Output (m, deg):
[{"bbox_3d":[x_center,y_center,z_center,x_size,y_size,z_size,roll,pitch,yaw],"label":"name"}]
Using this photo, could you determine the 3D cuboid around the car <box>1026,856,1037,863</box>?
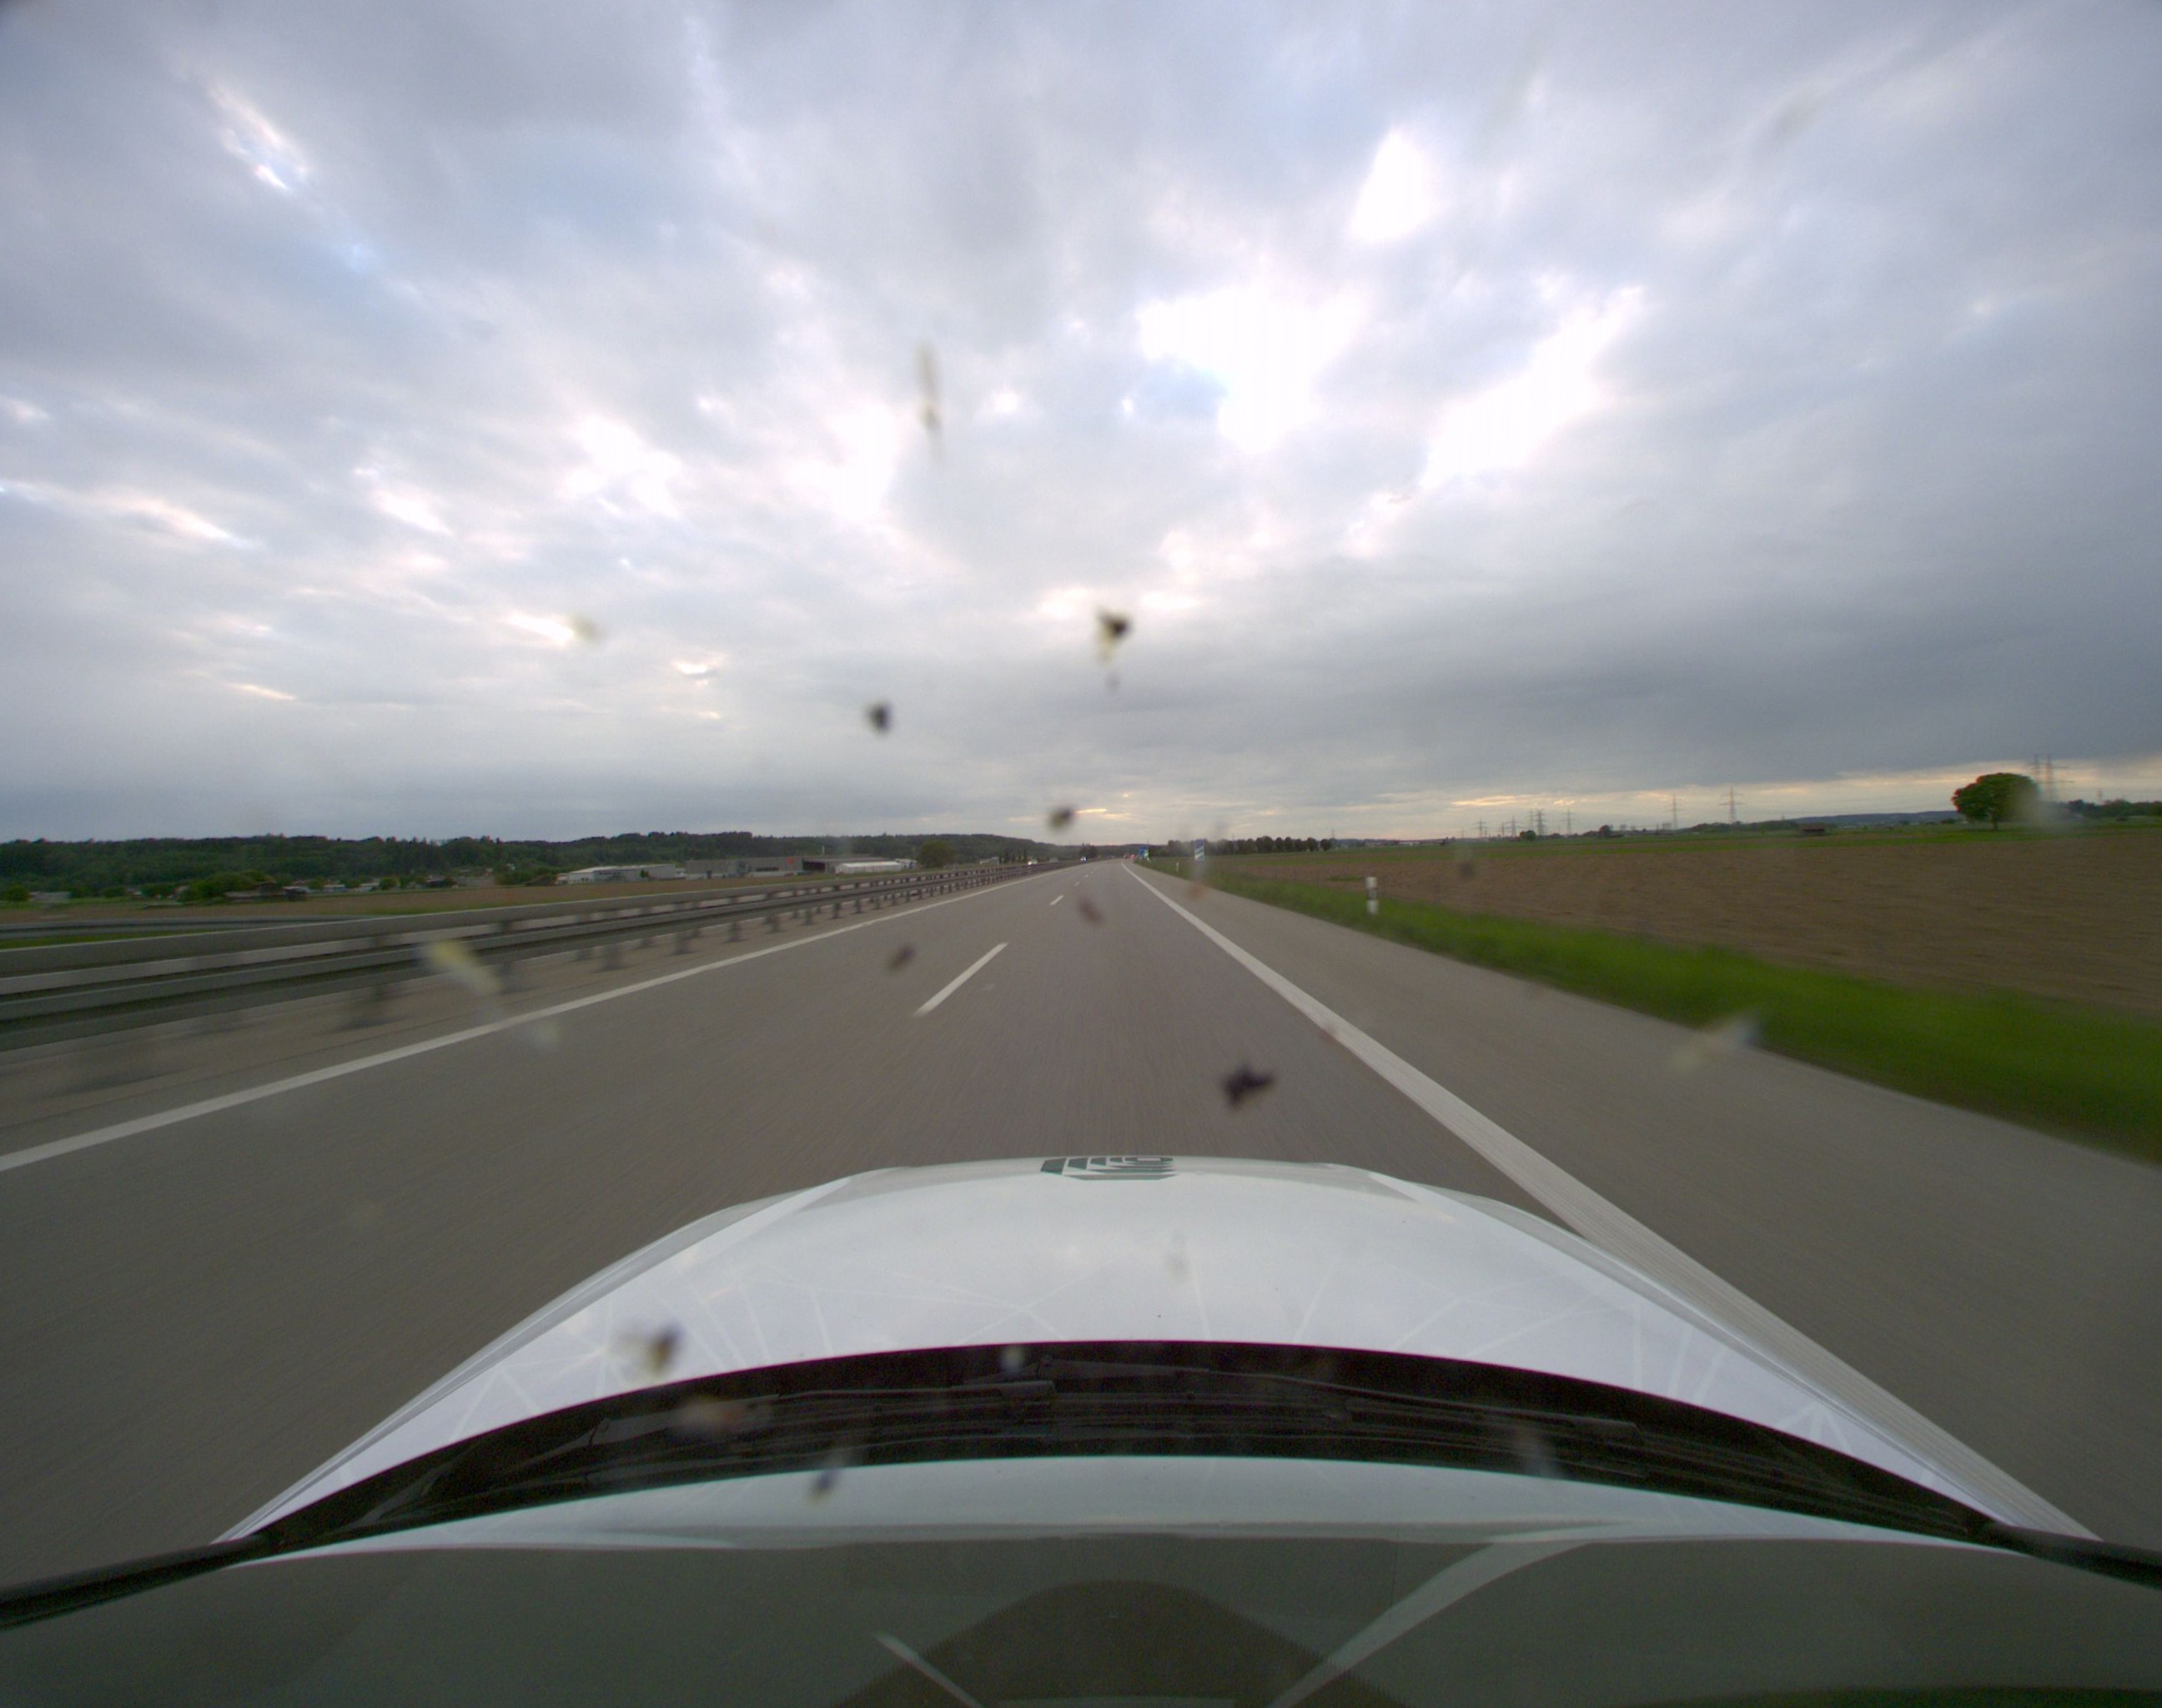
[{"bbox_3d":[-11.105,1.300,183.496,1.986,1.496,4.763,-2,0,1],"label":"car"}]
